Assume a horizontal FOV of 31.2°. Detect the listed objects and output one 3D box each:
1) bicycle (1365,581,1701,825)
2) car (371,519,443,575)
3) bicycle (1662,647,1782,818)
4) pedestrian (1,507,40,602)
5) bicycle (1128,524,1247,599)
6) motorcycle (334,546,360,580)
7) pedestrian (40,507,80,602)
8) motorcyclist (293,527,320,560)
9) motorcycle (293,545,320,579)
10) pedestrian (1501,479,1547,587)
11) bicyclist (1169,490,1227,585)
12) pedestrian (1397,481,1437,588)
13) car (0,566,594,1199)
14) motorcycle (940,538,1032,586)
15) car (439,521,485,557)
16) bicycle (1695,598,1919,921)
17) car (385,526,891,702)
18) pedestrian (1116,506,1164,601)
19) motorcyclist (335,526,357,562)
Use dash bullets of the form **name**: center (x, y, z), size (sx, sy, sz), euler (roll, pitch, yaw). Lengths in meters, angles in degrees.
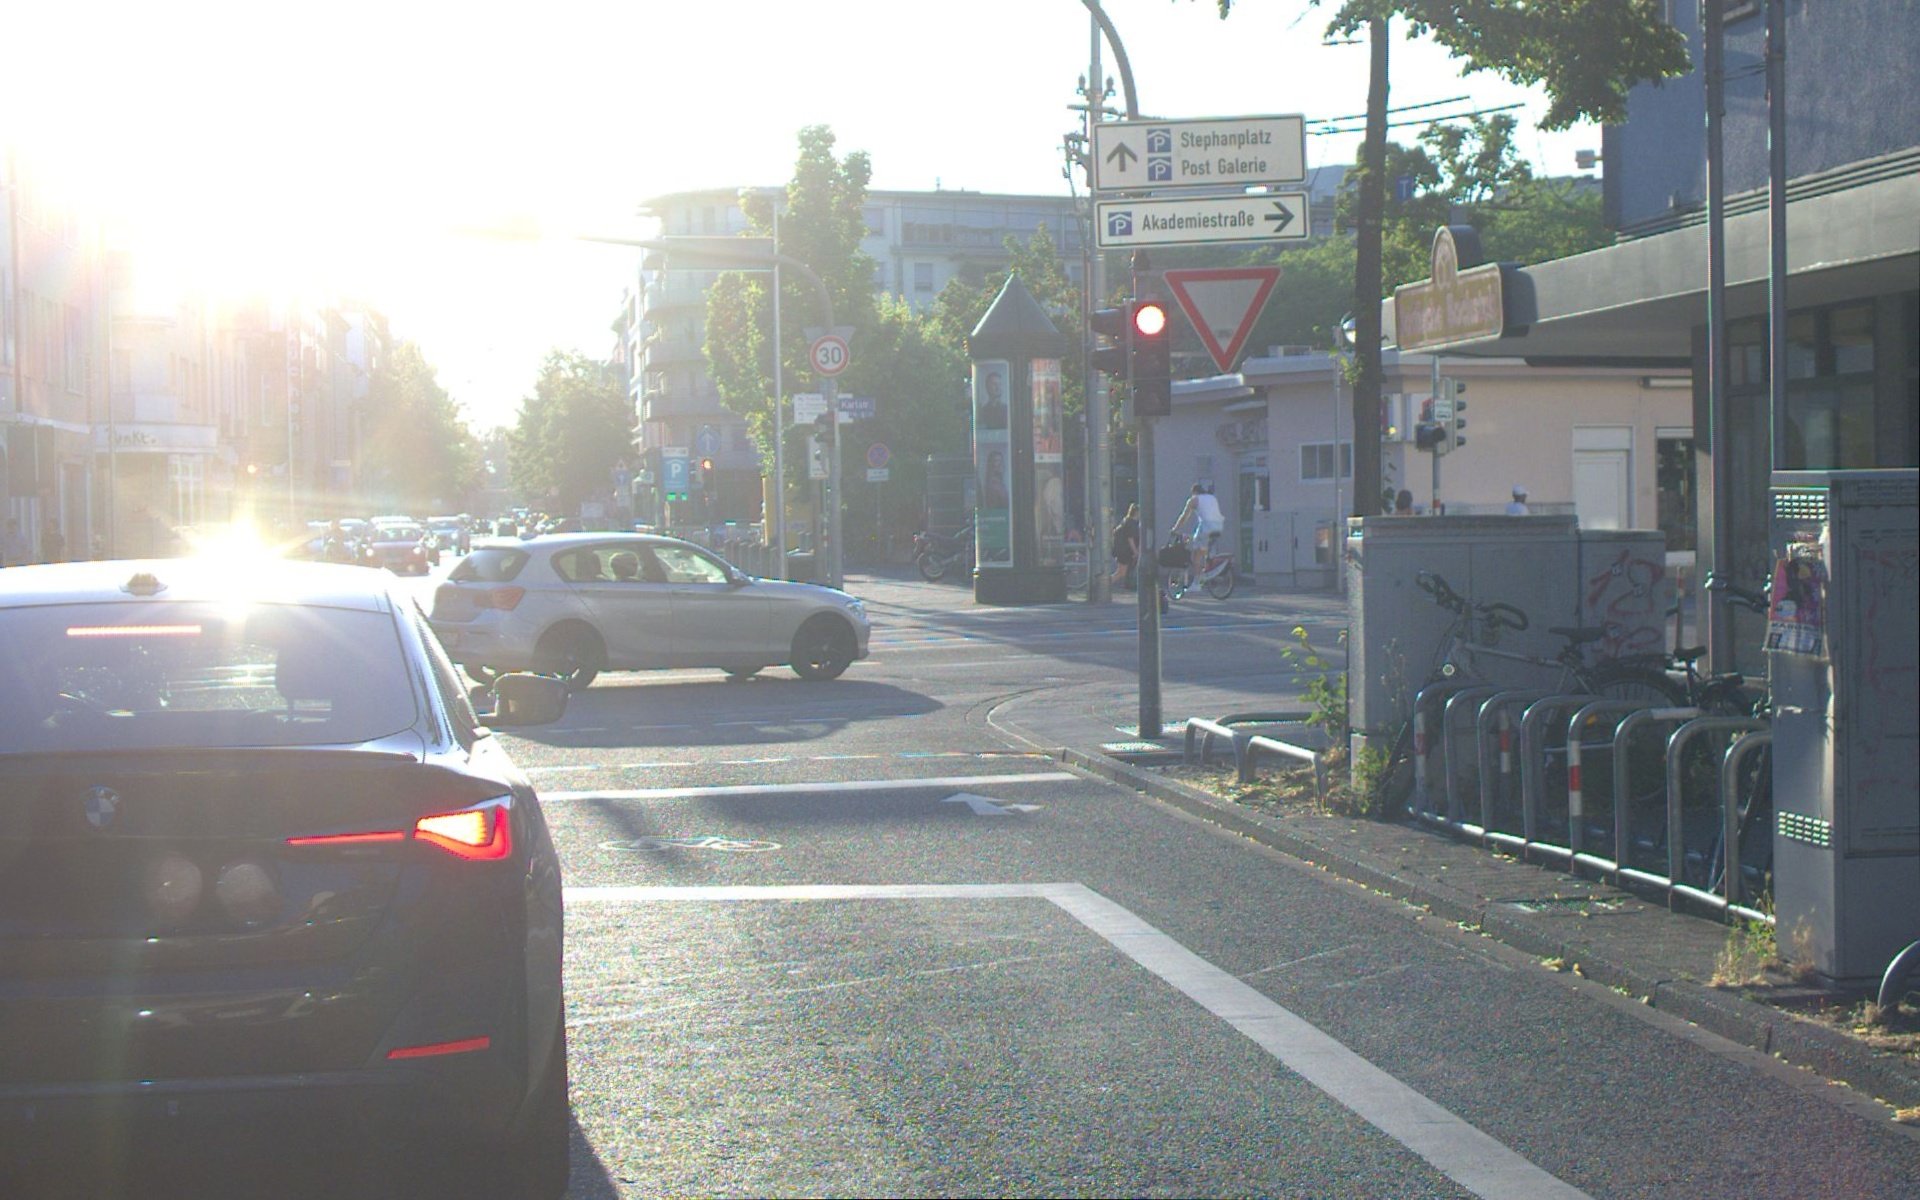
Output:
- **bicycle**: center (2.857, 0.505, 17.165), size (1.612, 1.167, 0.318), euler (-1, 1, -5)
- **car**: center (-15.582, -1.508, 97.028), size (1.817, 1.514, 4.001), euler (-1, 2, -7)
- **bicycle**: center (3.829, 0.653, 17.321), size (0.249, 0.793, 1.116), euler (1, 1, -5)
- **pedestrian**: center (-18.662, -0.908, 68.306), size (0.643, 1.870, 0.632), euler (1, 1, -7)
- **bicycle**: center (3.568, -0.605, 54.050), size (0.550, 1.155, 2.143), euler (0, 1, -39)
- **motorcycle**: center (-17.191, -1.051, 96.389), size (0.575, 0.912, 2.201), euler (1, 1, -7)
- **pedestrian**: center (-17.925, -0.901, 68.455), size (0.676, 1.870, 0.618), euler (1, 1, -7)
- **motorcyclist**: center (-18.366, -1.602, 96.676), size (0.575, 0.912, 2.201), euler (1, 1, -7)
- **motorcycle**: center (-18.387, -1.073, 96.748), size (0.575, 0.912, 2.201), euler (1, 1, -7)
- **pedestrian**: center (9.123, -1.085, 55.639), size (0.478, 1.729, 0.531), euler (0, 1, -31)
- **bicyclist**: center (3.731, -0.969, 53.836), size (0.550, 1.476, 0.722), euler (0, 1, -39)
- **pedestrian**: center (7.436, -1.061, 55.959), size (0.442, 1.729, 0.434), euler (0, 1, -32)
- **car**: center (-1.860, 0.642, 8.589), size (1.736, 1.424, 4.225), euler (0, 1, -8)
- **motorcycle**: center (0.523, -0.774, 69.843), size (1.668, 0.935, 0.856), euler (-1, 2, -18)
- **car**: center (-21.569, -2.652, 149.033), size (1.817, 1.514, 4.001), euler (-1, 2, -7)
- **bicycle**: center (3.613, 0.611, 13.294), size (1.441, 1.216, 0.383), euler (1, 1, -5)
- **car**: center (-3.028, 0.080, 32.549), size (4.307, 1.493, 2.000), euler (-2, 2, -32)
- **pedestrian**: center (2.908, -0.755, 55.425), size (0.732, 1.524, 0.472), euler (1, 1, 1)
- **motorcyclist**: center (-17.196, -1.578, 96.267), size (0.575, 0.992, 0.703), euler (1, 1, -7)
